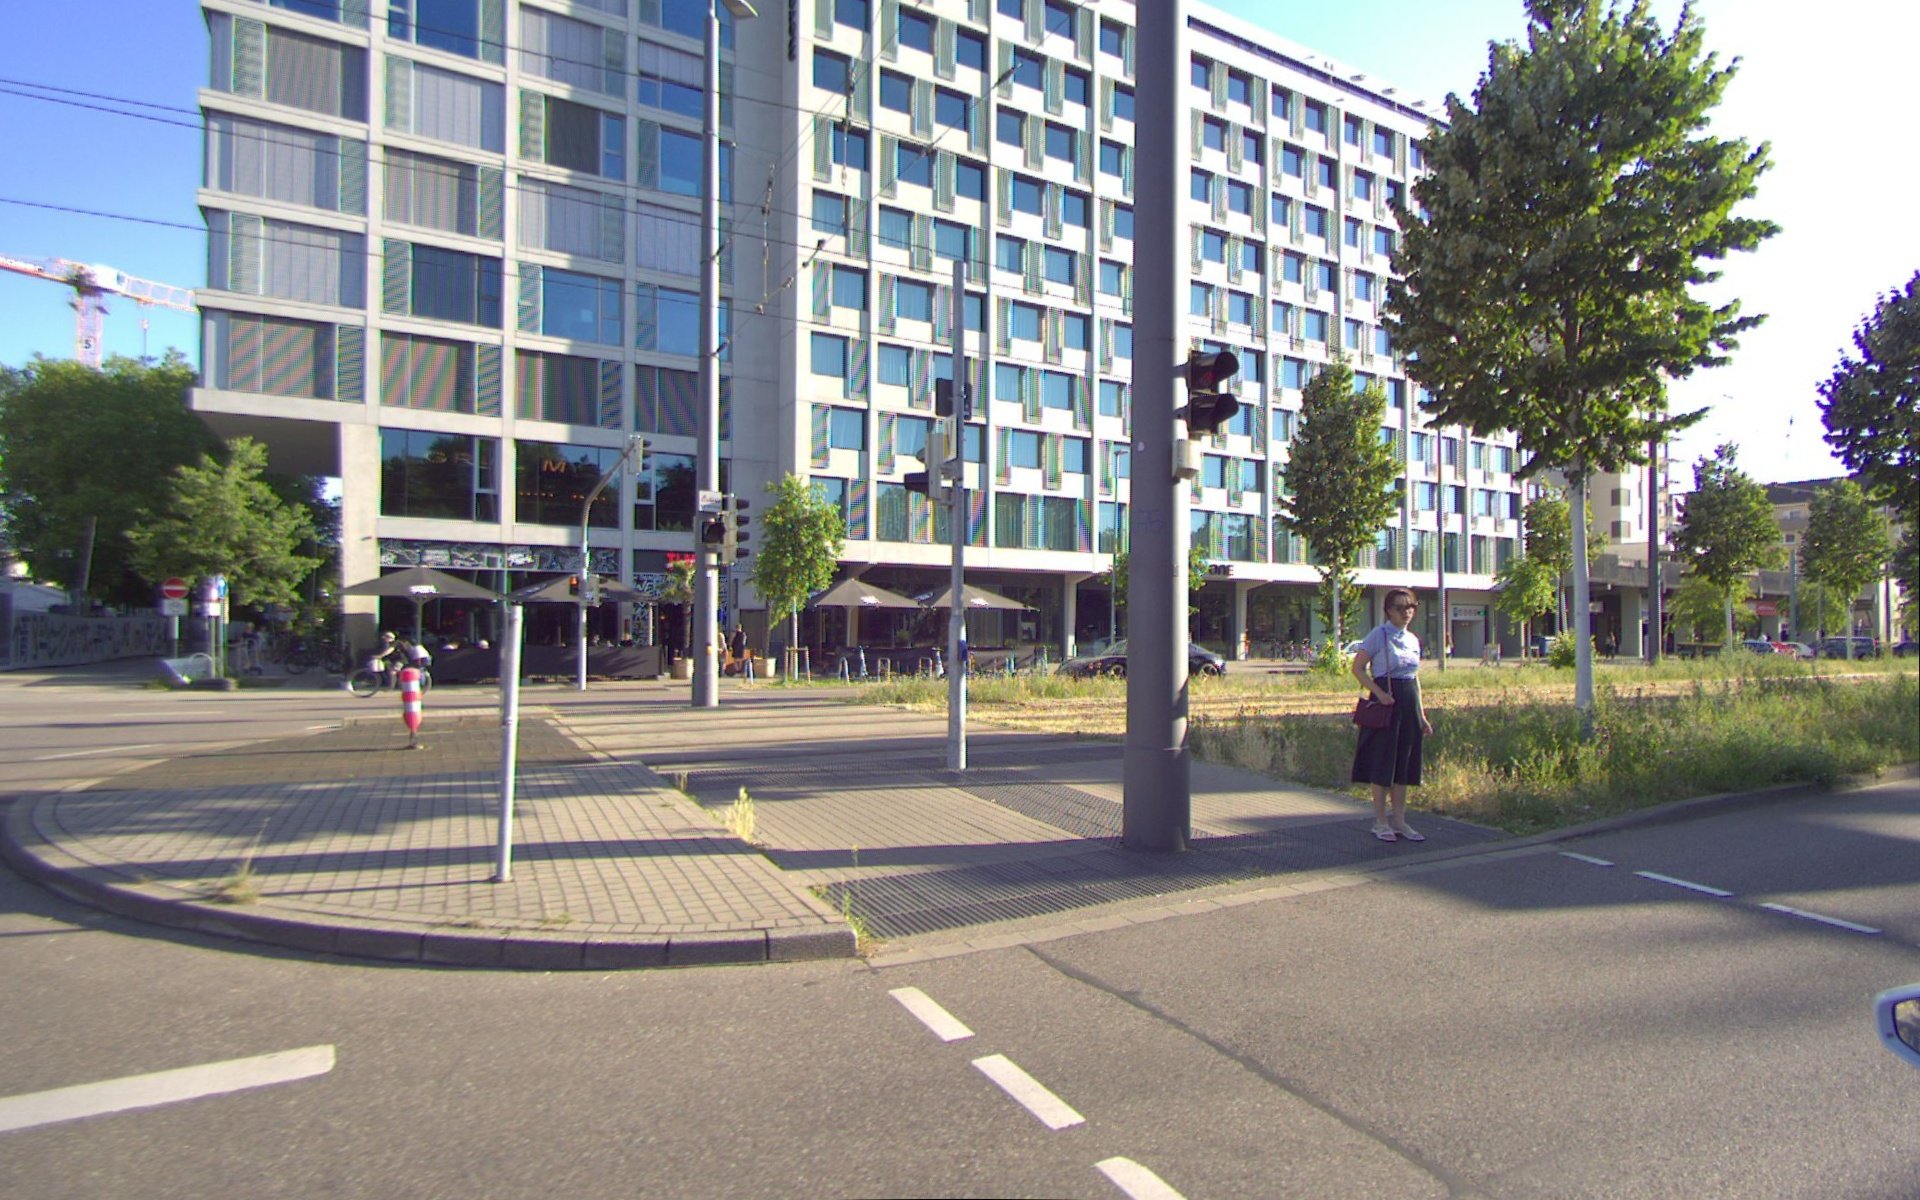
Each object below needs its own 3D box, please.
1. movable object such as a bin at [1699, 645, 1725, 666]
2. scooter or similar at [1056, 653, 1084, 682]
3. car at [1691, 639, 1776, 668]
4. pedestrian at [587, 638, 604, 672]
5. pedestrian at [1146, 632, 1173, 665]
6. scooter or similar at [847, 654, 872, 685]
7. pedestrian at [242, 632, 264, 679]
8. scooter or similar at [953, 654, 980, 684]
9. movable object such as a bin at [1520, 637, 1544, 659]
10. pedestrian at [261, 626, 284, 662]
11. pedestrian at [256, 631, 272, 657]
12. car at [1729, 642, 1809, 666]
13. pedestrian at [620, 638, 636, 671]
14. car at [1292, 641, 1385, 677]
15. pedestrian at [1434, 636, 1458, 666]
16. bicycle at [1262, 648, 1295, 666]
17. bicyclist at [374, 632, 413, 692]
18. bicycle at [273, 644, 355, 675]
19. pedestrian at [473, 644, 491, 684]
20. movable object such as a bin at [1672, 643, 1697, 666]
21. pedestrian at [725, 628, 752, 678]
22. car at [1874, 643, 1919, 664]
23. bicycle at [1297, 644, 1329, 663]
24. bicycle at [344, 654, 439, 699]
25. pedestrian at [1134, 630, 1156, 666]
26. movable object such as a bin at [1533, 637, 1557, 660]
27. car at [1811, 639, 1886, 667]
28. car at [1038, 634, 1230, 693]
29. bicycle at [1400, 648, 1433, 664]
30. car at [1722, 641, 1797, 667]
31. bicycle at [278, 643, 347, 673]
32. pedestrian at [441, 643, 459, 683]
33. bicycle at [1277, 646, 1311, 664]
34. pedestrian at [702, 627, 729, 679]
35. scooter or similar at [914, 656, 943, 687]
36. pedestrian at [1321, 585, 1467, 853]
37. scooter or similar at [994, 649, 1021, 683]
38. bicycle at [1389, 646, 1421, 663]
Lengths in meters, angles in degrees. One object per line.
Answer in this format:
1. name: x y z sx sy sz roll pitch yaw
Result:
1. movable object such as a bin: 46.490 3.429 62.104 0.924 1.297 0.858 1 -2 -15
2. scooter or similar: 4.130 2.525 37.701 0.429 1.032 1.238 1 -2 -28
3. car: 50.388 3.470 65.505 4.015 1.622 1.750 2 1 20
4. pedestrian: -13.401 2.004 36.936 0.491 1.238 0.430 1 -2 -30
5. pedestrian: 10.167 2.467 51.181 1.040 1.692 0.977 1 -2 -11
6. scooter or similar: -3.380 2.329 33.819 0.401 1.019 1.238 1 -2 -28
7. pedestrian: -23.159 1.819 32.896 0.571 1.518 0.582 2 -2 -36
8. scooter or similar: 0.220 2.420 35.495 0.429 1.032 1.238 1 -2 -28
9. movable object such as a bin: 38.221 3.190 67.121 1.386 1.459 0.796 1 -2 -30
10. pedestrian: -30.217 1.945 44.167 0.695 1.555 0.580 1 -2 -23
11. pedestrian: -42.190 2.662 60.887 0.702 1.567 0.674 1 -2 -28
12. car: 55.520 3.710 68.995 3.919 1.472 1.788 1 -1 12
13. pedestrian: -12.390 2.031 37.487 0.491 1.238 0.430 1 -2 -30
14. car: 17.038 2.641 45.211 3.824 1.512 1.878 1 -1 -29
15. pedestrian: 28.245 2.953 58.364 0.958 1.675 0.840 1 -2 -28
16. bicycle: 17.111 3.058 53.991 0.507 0.917 1.792 2 -2 -35
17. bicyclist: -14.440 1.573 25.611 0.841 1.484 0.622 1 -2 -29
18. bicycle: -20.840 1.911 32.465 2.191 0.948 0.615 2 -2 -31
19. pedestrian: -14.745 1.958 30.970 0.428 1.209 0.362 1 -2 -33
20. movable object such as a bin: 45.546 3.424 63.151 0.924 1.375 0.858 1 -2 -15
21. pedestrian: -7.726 1.836 35.006 0.791 1.744 0.868 1 -2 -20
22. car: 74.005 4.173 78.035 3.921 1.584 2.000 1 -1 19
23. bicycle: 19.490 2.946 55.460 0.477 0.979 1.743 1 -1 -30
24. bicycle: -14.459 1.933 25.597 2.053 1.081 0.622 2 -2 -30
25. pedestrian: 9.651 2.493 52.407 0.960 1.895 0.972 0 -2 1
26. movable object such as a bin: 38.642 3.188 66.360 1.386 1.459 0.796 1 -2 -30
27. car: 65.128 3.868 73.652 3.685 1.853 1.825 1 -1 21
28. car: 4.473 1.567 25.607 4.794 1.361 1.882 2 -2 -31
29. bicycle: 26.937 3.303 59.342 0.506 0.917 1.794 1 -2 -32
30. car: 53.546 3.579 67.323 3.554 1.543 1.621 2 0 20
31. bicycle: -21.401 1.910 33.228 1.879 0.948 0.533 2 -2 -31
32. pedestrian: -15.695 1.939 30.914 0.428 1.209 0.362 1 -2 -33
33. bicycle: 17.993 2.949 54.204 0.507 0.917 1.792 2 -2 -35
34. pedestrian: -8.440 1.817 34.676 0.791 1.744 0.868 1 -2 -20
35. scooter or similar: -1.093 2.453 34.693 0.504 1.032 1.238 1 -2 -28
36. pedestrian: 2.970 0.778 6.897 0.704 1.721 0.597 1 -2 -25
37. scooter or similar: 1.727 2.409 36.739 0.401 1.187 1.238 1 -2 -28
38. bicycle: 26.143 3.195 59.018 0.506 0.917 1.794 1 -2 -32
